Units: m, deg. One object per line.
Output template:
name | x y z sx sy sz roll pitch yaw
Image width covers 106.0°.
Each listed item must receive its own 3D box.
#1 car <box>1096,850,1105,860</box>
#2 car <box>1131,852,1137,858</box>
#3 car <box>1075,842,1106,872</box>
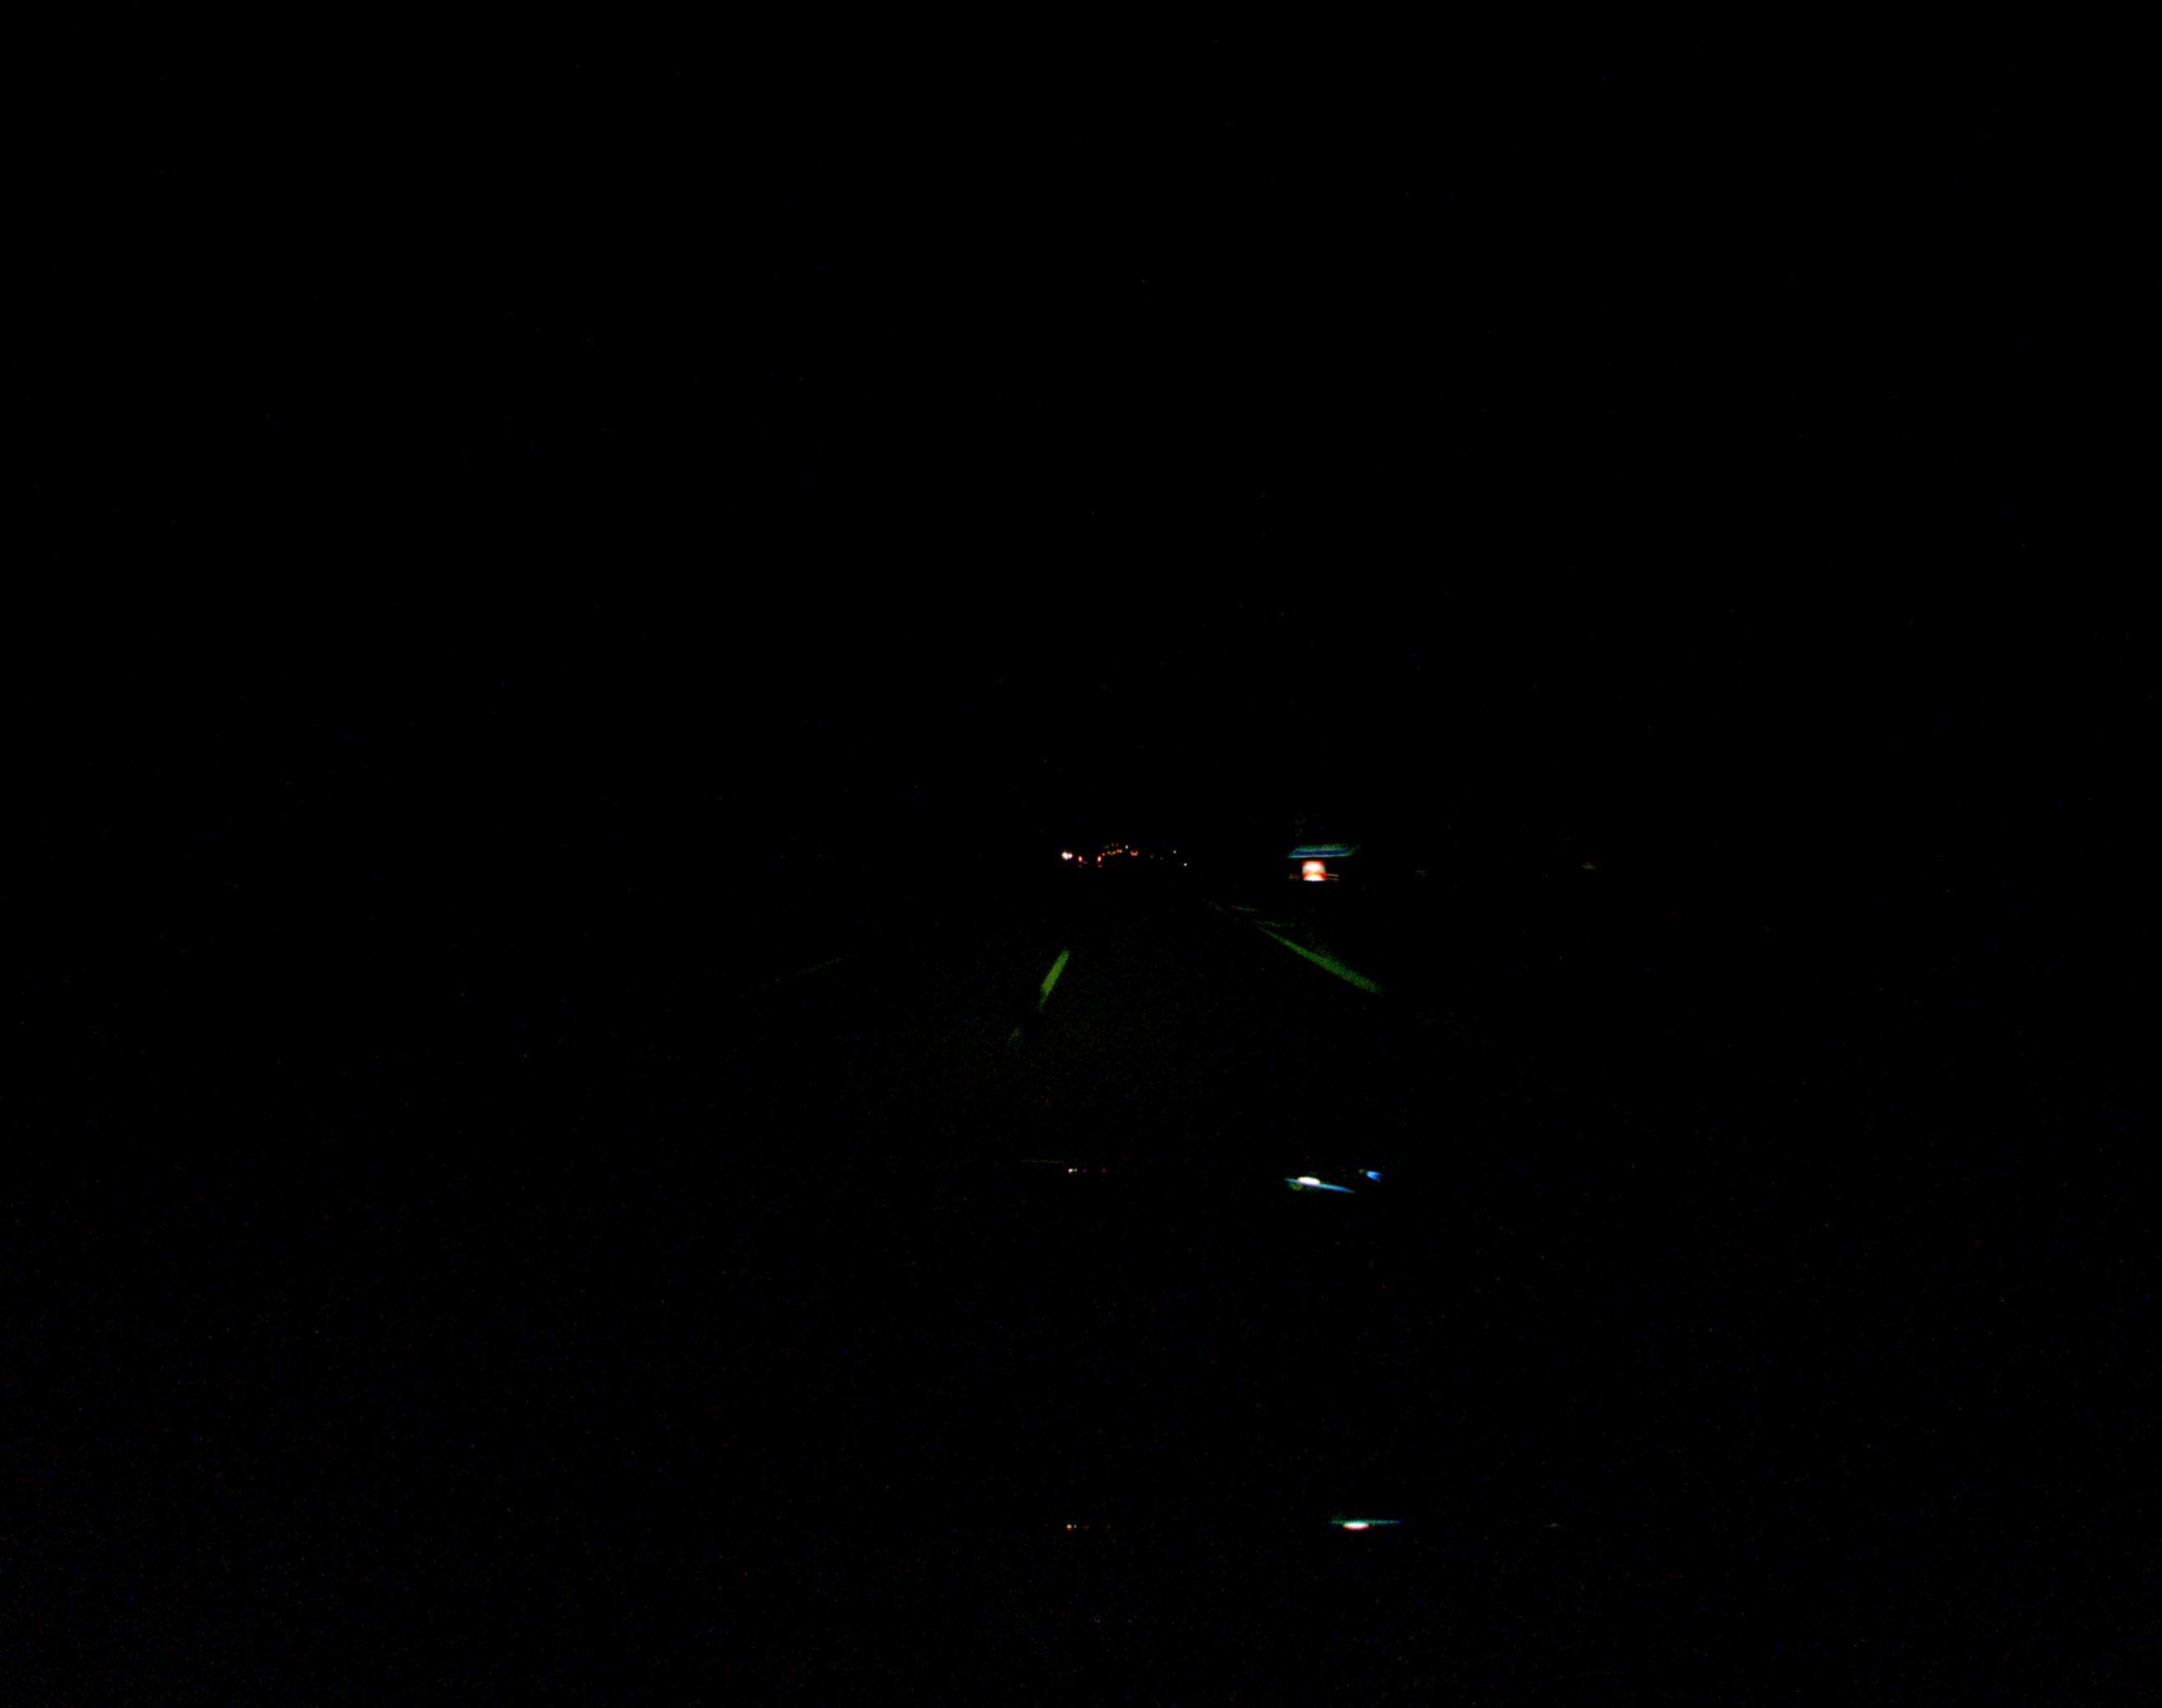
car | 6.033 0.293 256.338 2.777 2.734 6.299 -1 -2 1
car | 15.937 0.184 244.743 1.836 1.640 4.002 -2 1 2
car | 0.948 0.295 79.847 2.776 2.733 6.303 -1 0 2
